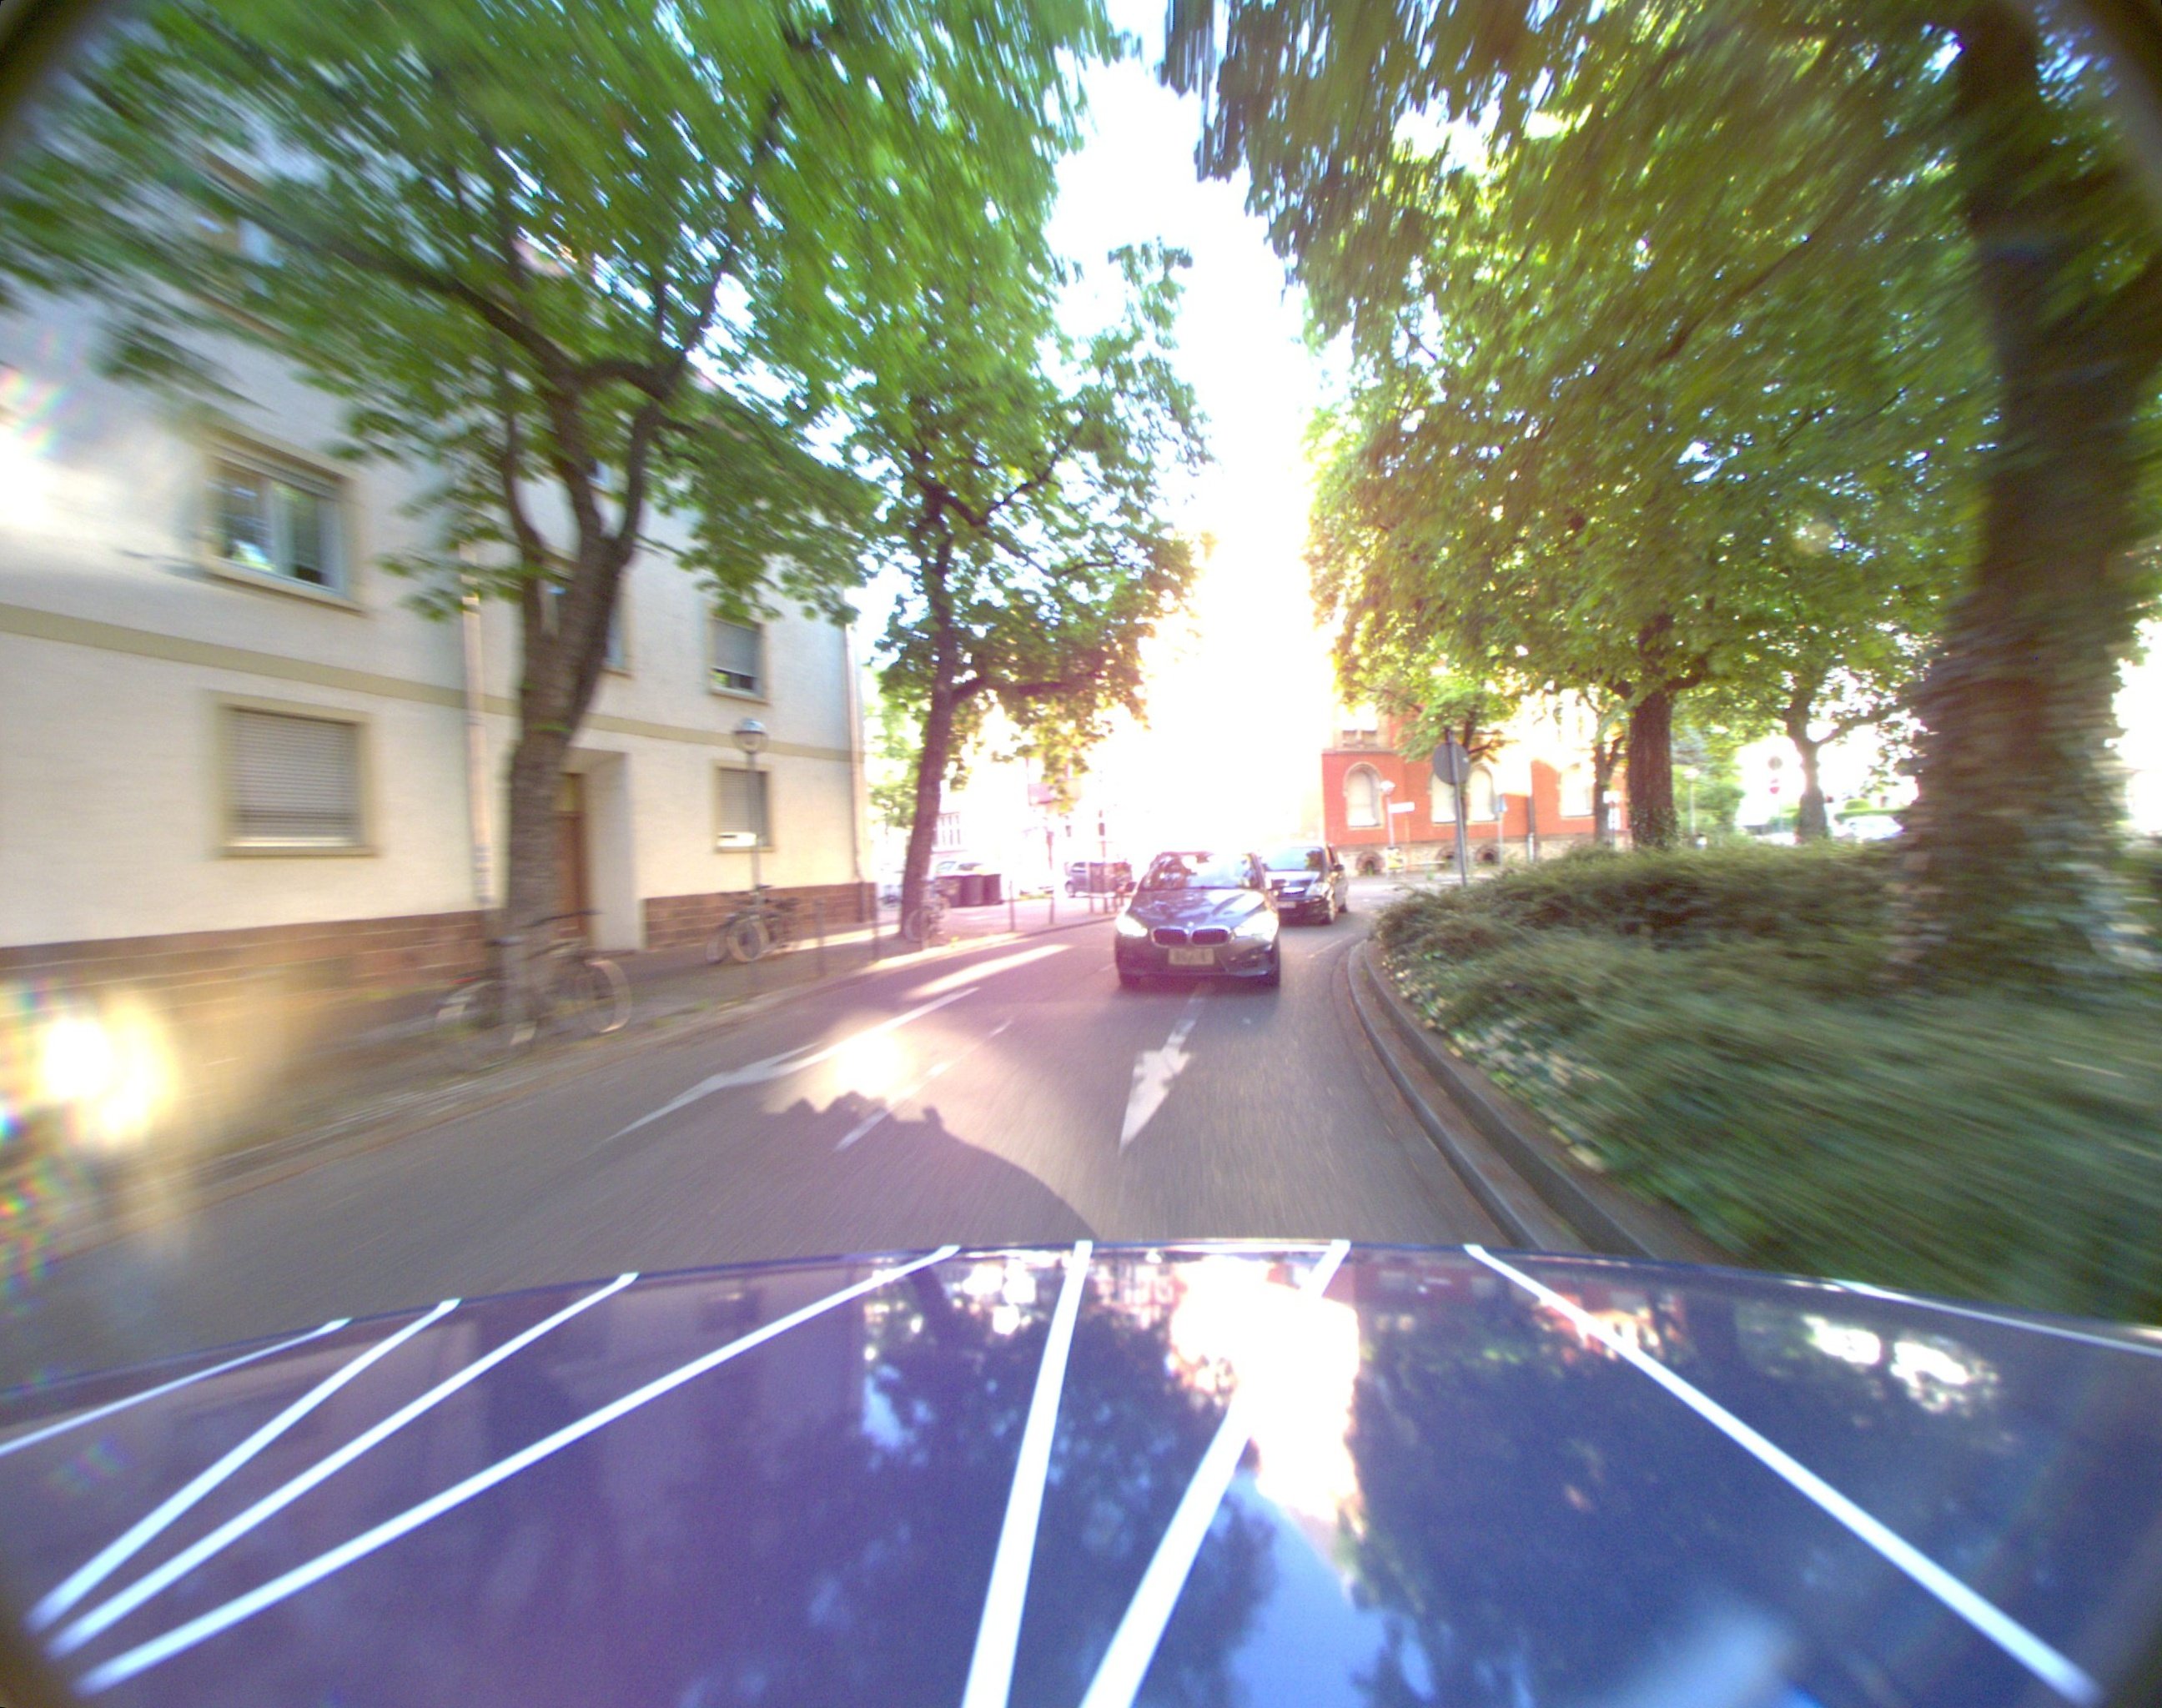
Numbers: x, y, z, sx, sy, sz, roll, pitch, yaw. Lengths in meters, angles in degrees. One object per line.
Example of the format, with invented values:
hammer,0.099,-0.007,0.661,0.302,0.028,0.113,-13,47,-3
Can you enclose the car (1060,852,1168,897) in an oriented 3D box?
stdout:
car,1.196,0.808,29.192,1.699,1.543,4.041,-3,0,-42

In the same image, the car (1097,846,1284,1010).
car,1.621,0.732,9.687,1.791,1.569,4.265,-2,0,15

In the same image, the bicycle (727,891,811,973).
bicycle,-4.883,1.189,11.992,0.334,1.087,1.637,-3,0,10

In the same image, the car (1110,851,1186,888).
car,3.001,0.705,34.577,1.495,1.531,3.207,-3,0,-43

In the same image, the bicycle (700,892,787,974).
bicycle,-5.266,1.203,11.950,0.334,1.087,1.637,-3,0,10

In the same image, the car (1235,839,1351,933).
car,4.411,0.570,15.436,1.677,1.619,3.693,-3,0,24

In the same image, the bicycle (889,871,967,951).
bicycle,-2.777,1.002,14.029,0.767,1.297,1.904,-3,0,8

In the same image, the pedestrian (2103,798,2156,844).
pedestrian,39.359,-1.222,28.519,0.904,1.625,0.725,-5,0,-4

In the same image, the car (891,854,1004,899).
car,-4.983,0.814,28.703,3.811,1.417,1.672,-3,0,-41

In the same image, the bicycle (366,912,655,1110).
bicycle,-4.542,1.184,6.281,0.719,1.216,1.915,-3,0,7

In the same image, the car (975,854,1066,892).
car,-2.758,0.891,34.094,1.809,1.543,4.175,-3,0,-42
